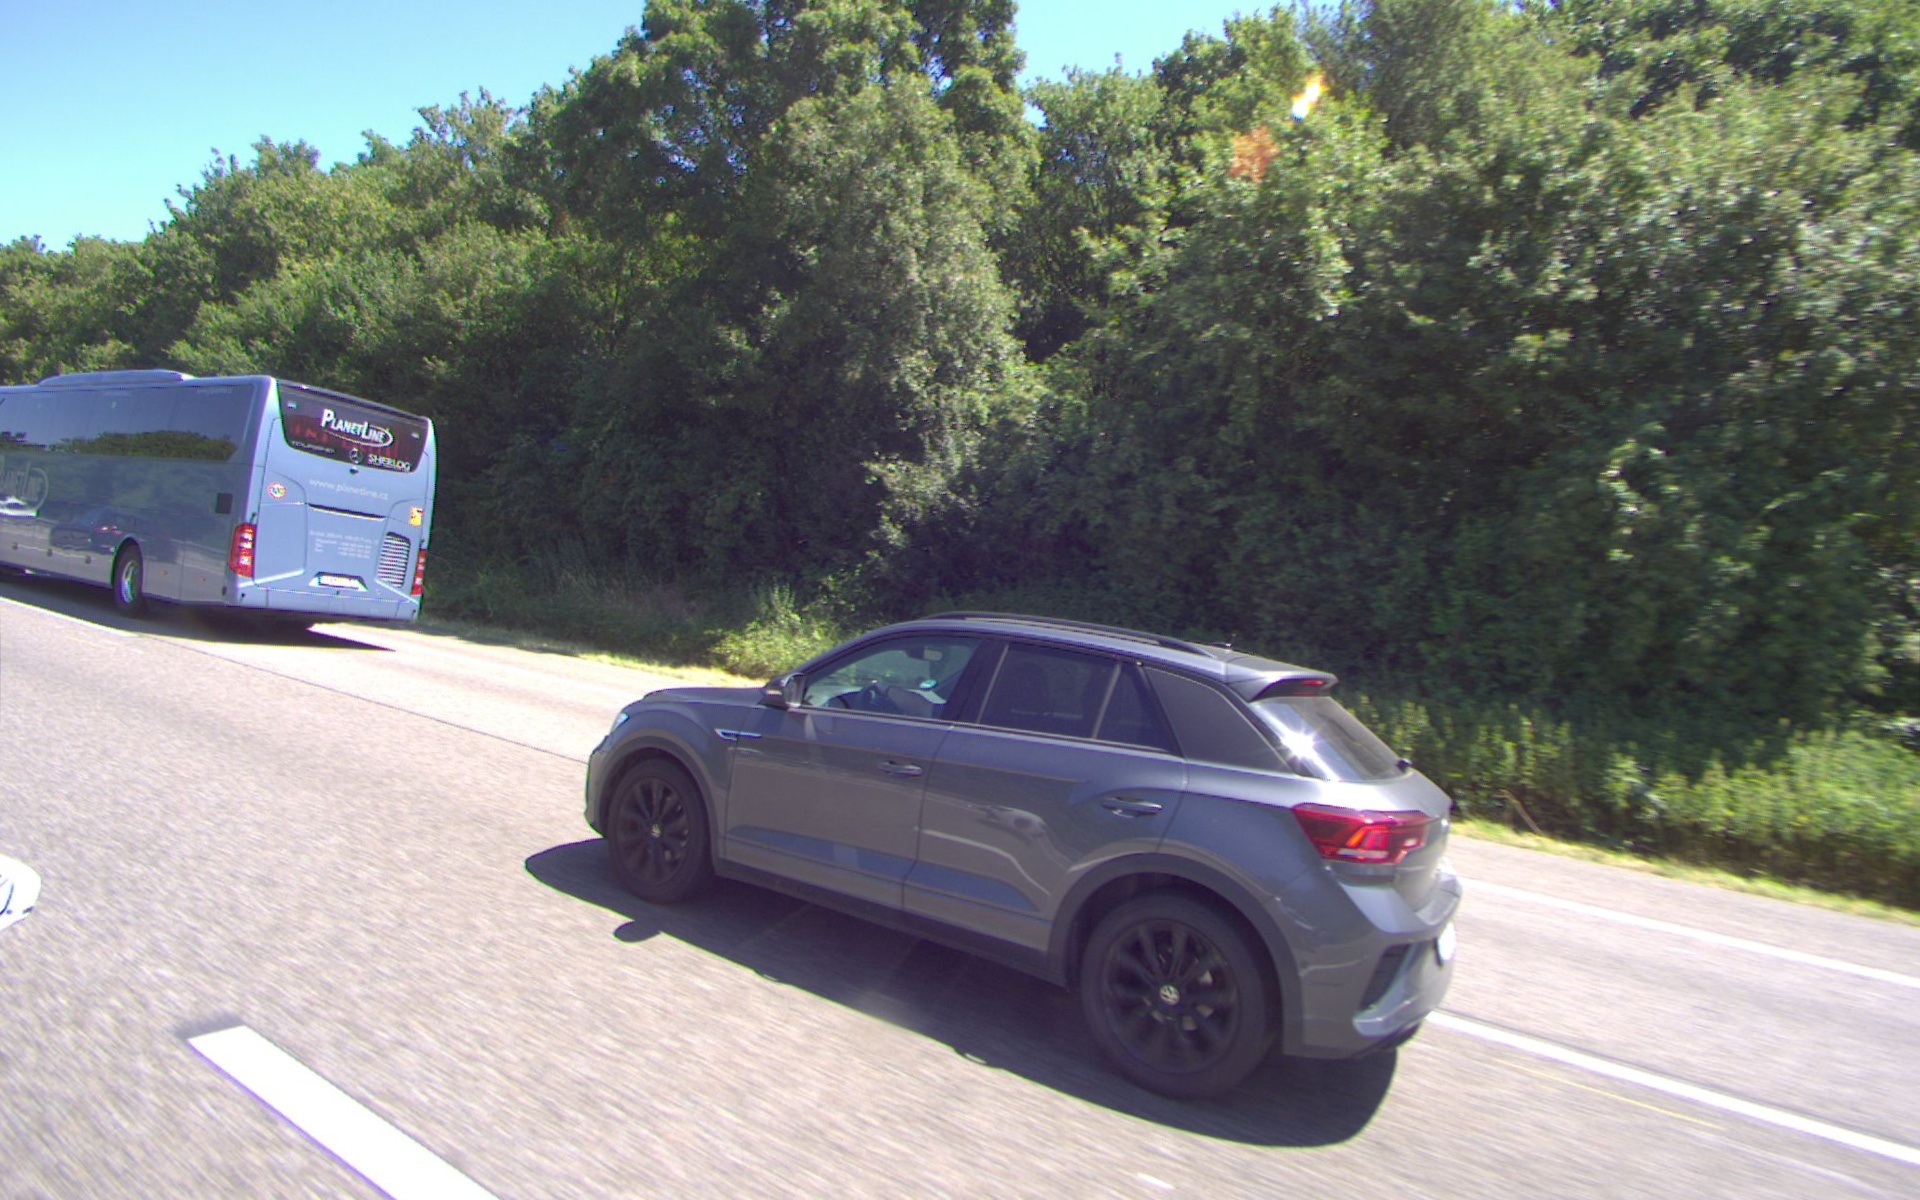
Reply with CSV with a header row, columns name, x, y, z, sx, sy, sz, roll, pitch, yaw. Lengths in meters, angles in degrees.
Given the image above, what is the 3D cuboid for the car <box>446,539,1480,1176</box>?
name,x,y,z,sx,sy,sz,roll,pitch,yaw
car,-0.177,0.776,4.991,4.680,1.550,1.903,7,-1,31

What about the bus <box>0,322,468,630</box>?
name,x,y,z,sx,sy,sz,roll,pitch,yaw
bus,-13.343,-2.094,16.839,12.268,3.639,2.807,7,-1,32
